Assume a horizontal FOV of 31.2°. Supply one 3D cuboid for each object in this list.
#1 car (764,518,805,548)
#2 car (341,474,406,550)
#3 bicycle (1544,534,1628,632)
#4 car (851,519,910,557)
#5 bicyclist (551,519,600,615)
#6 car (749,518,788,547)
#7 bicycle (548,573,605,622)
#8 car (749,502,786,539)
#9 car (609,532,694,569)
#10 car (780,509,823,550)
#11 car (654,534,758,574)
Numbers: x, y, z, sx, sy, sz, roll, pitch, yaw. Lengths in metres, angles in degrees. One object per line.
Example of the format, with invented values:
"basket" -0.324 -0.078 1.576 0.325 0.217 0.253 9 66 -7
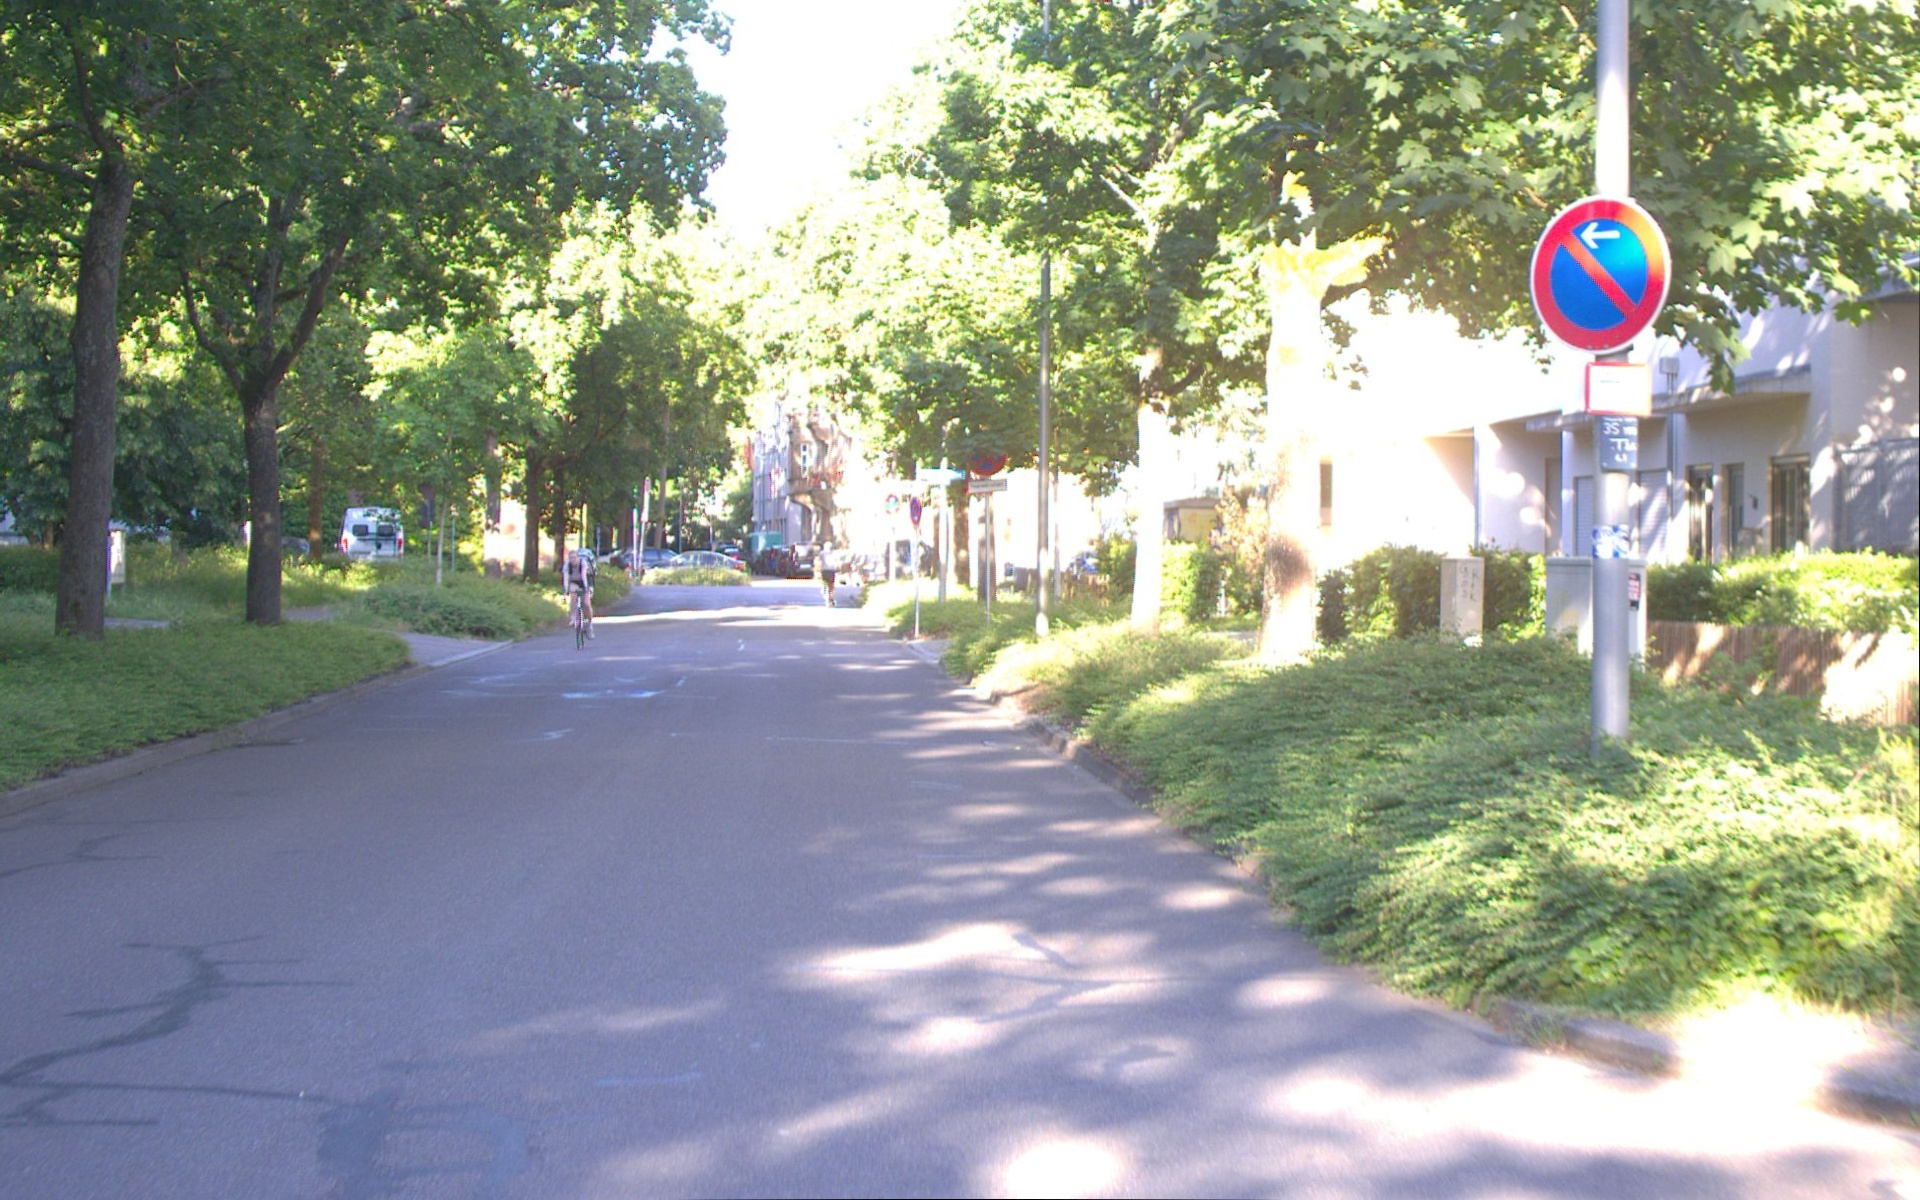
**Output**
"car" -9.098 -3.489 178.038 1.811 1.496 4.001 2 1 -6
"car" -20.017 -2.993 117.223 1.993 2.499 4.001 1 1 -12
"bicycle" 7.833 -0.222 43.074 0.617 1.187 1.754 1 1 -3
"car" -3.287 -2.562 141.462 1.811 1.496 4.001 0 1 -10
"bicyclist" -6.278 -0.544 56.181 0.633 1.549 1.002 -1 1 1
"car" -10.281 -3.639 184.529 1.811 1.496 4.001 2 1 -6
"bicycle" -6.261 -0.048 56.202 0.639 0.739 2.126 -1 1 1
"car" -10.900 -4.501 194.709 1.811 2.043 4.001 2 1 -6
"car" -13.570 -2.193 151.181 3.586 1.505 1.501 1 1 -10
"car" -7.850 -3.503 169.942 1.811 1.919 4.001 2 1 -6
"car" -10.306 -1.861 139.140 3.986 1.496 1.818 1 1 -10
